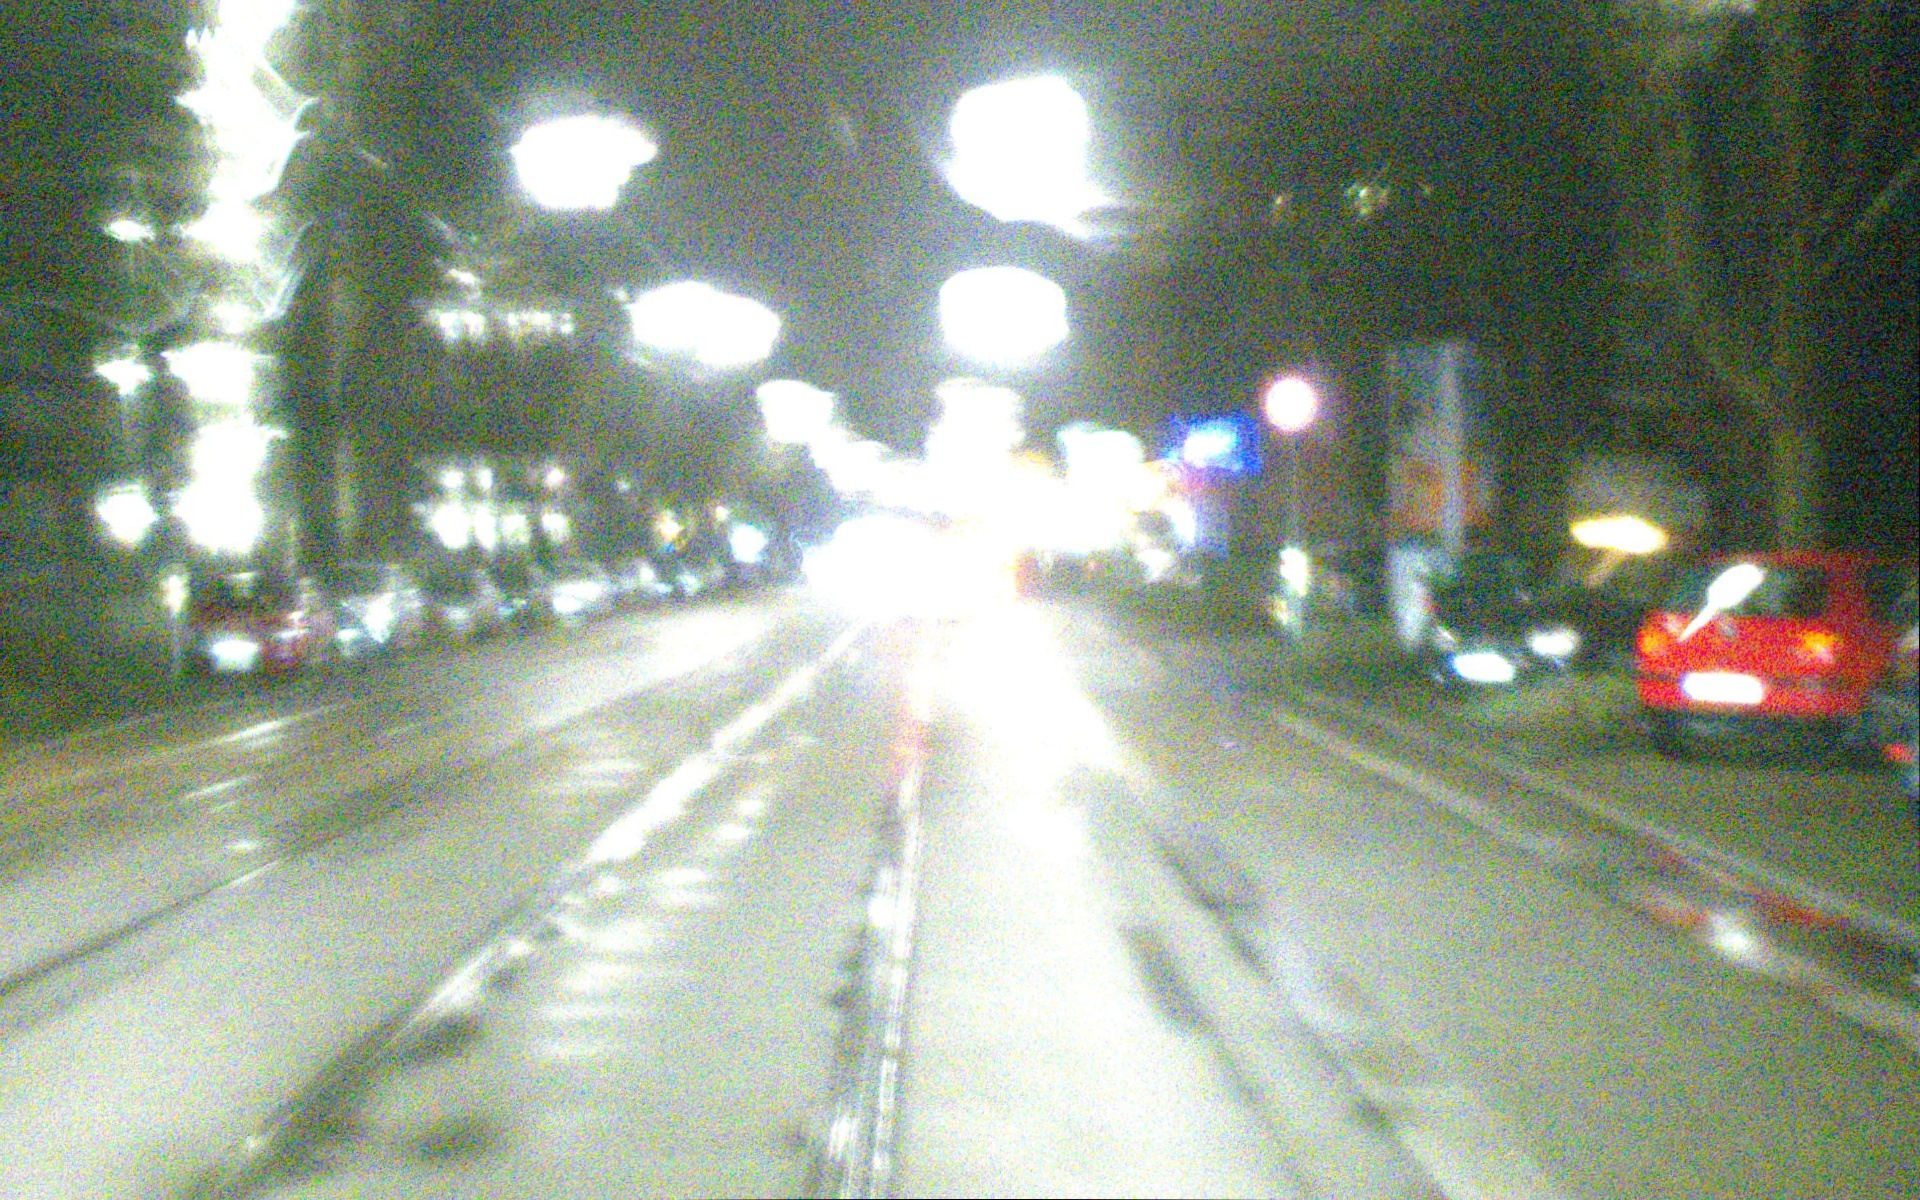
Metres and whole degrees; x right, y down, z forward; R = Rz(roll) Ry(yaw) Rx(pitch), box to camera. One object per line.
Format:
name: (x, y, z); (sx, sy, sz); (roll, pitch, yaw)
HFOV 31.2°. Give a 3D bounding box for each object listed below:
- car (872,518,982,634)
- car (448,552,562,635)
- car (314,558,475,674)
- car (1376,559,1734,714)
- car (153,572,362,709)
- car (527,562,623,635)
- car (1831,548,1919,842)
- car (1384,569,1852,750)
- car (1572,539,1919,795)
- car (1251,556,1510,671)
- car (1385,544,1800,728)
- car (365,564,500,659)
car: (-0.766, -0.531, 75.248); (2.216, 2.433, 5.385); (1, 1, -2)
car: (-10.151, -0.141, 76.962); (2.022, 1.755, 4.000); (2, 0, -1)
car: (-9.306, 0.260, 56.868); (1.999, 1.779, 4.000); (2, 0, -1)
car: (6.536, 0.392, 37.556); (1.909, 1.567, 3.952); (2, 1, 44)
car: (-9.827, 0.538, 48.450); (2.108, 1.758, 4.966); (2, 0, -3)
car: (-9.826, -0.042, 87.985); (2.022, 1.755, 4.000); (2, 0, -1)
car: (6.327, 0.479, 17.817); (3.818, 1.425, 1.636); (0, 1, -42)
car: (5.853, 0.508, 30.305); (4.237, 1.449, 1.950); (1, 1, -44)
car: (6.235, 0.443, 24.231); (2.054, 1.618, 3.819); (2, 1, 42)
car: (6.141, 0.195, 49.919); (1.909, 1.567, 3.953); (2, 1, 39)
car: (6.374, 0.354, 34.383); (2.029, 1.692, 4.237); (2, 1, 44)
car: (-10.334, 0.225, 67.586); (2.022, 1.755, 4.000); (2, 0, -1)
